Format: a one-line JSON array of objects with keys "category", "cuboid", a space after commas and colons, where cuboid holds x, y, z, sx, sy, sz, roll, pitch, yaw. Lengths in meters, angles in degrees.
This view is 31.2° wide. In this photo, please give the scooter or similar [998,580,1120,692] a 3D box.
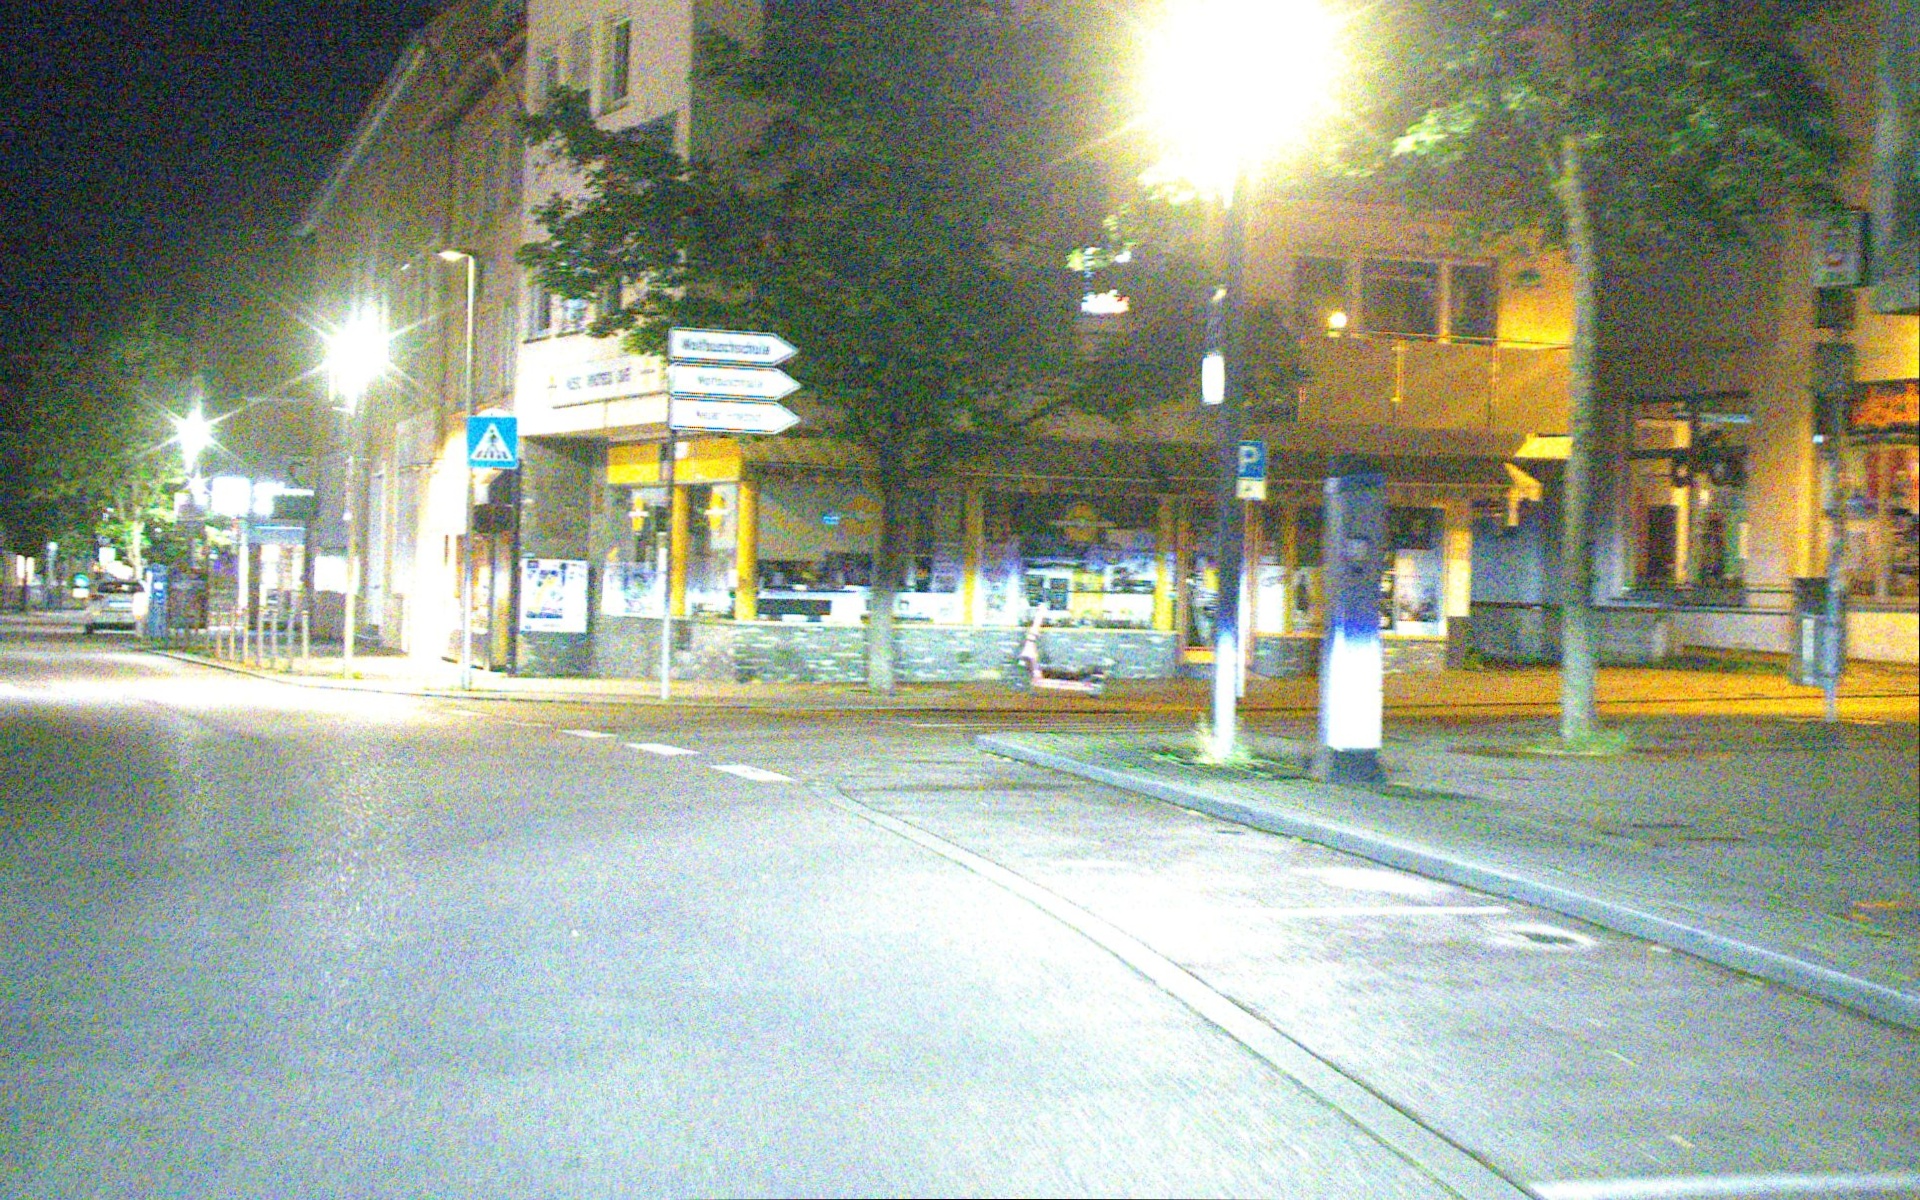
[{"category": "scooter or similar", "cuboid": [1.122, 0.406, 39.240, 1.246, 1.223, 0.598, 2, 2, -12]}]

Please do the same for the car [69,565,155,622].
[{"category": "car", "cuboid": [-22.289, -0.196, 90.287, 1.833, 1.354, 4.001, -1, 2, -19]}]
